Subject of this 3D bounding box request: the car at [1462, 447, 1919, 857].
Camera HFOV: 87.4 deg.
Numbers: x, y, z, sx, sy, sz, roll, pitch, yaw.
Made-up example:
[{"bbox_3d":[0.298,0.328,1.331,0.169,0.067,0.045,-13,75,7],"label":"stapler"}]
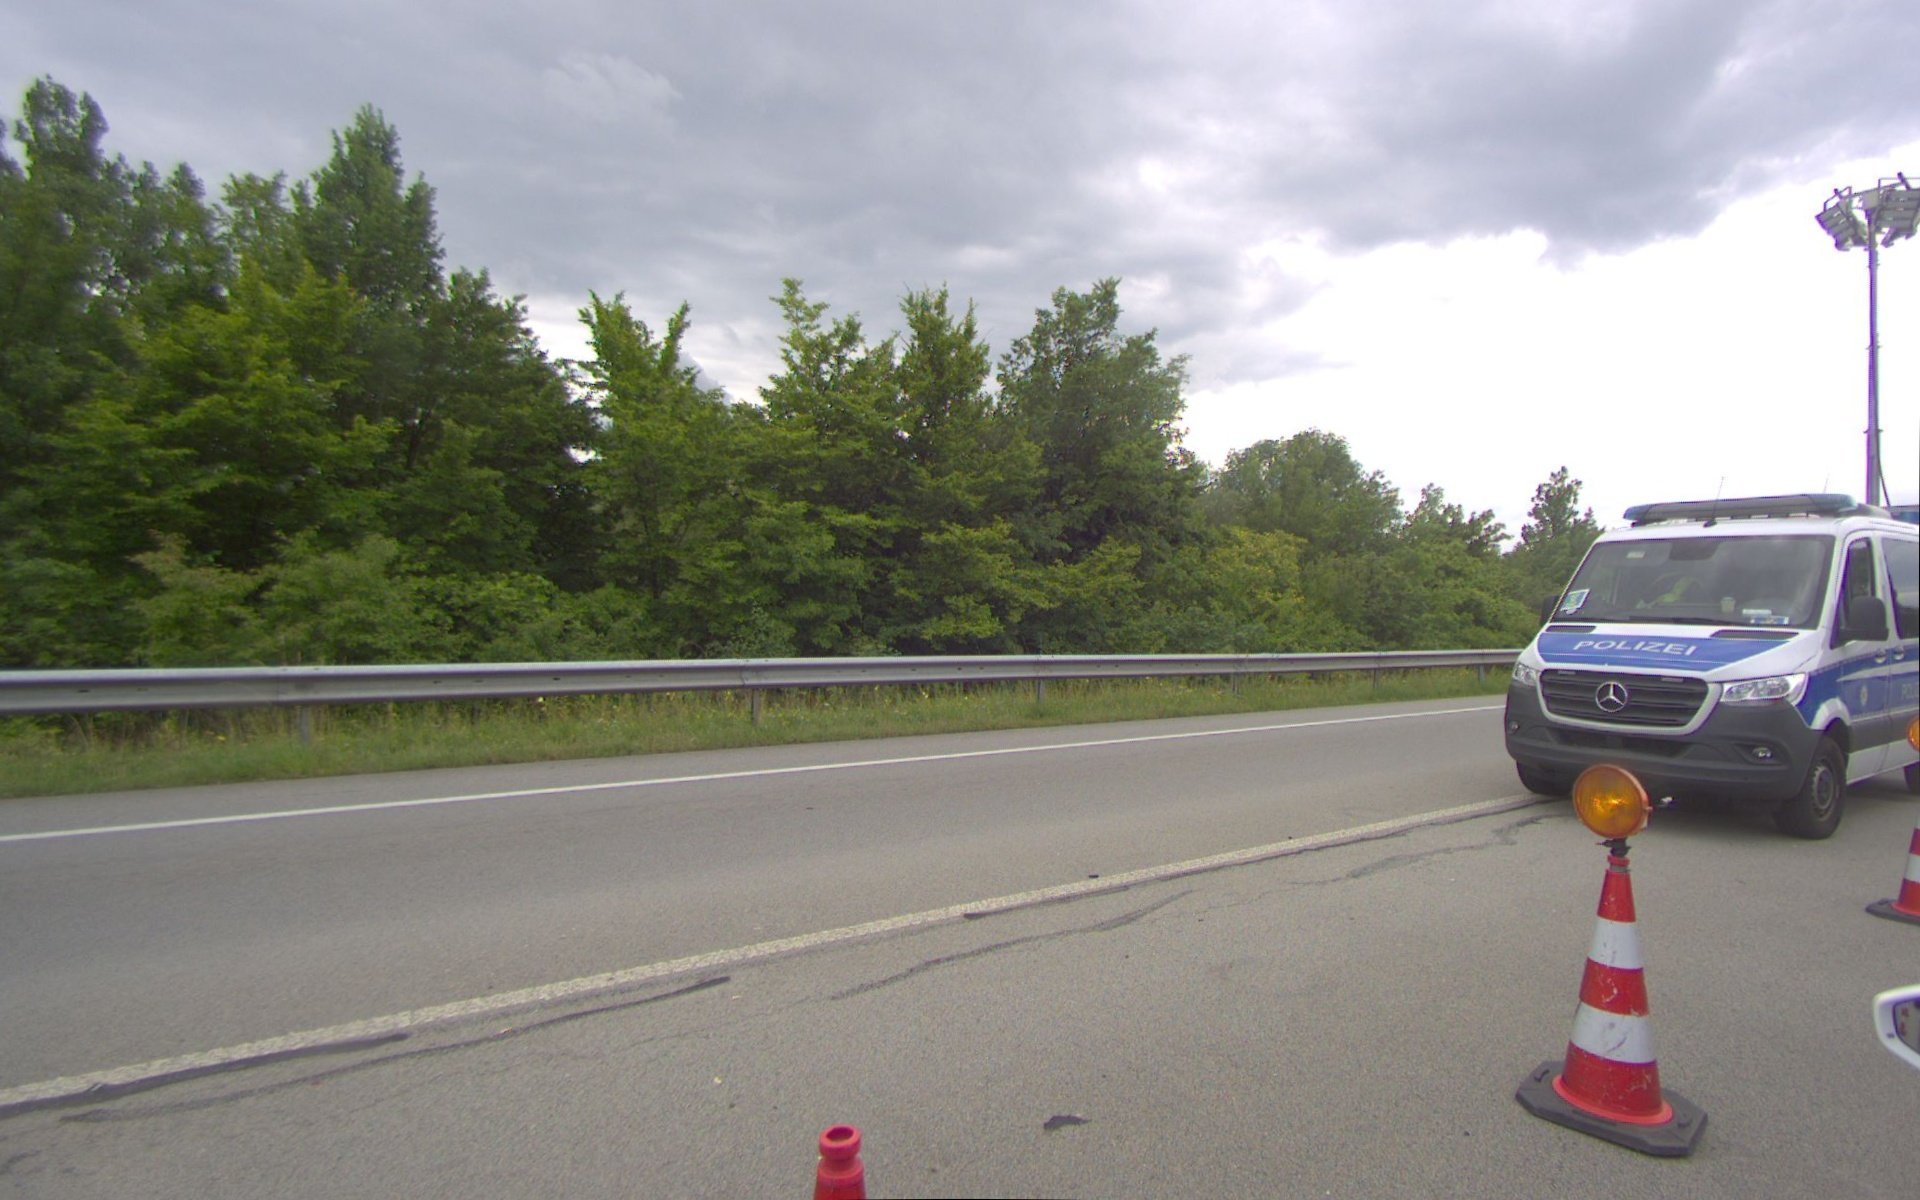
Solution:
[{"bbox_3d":[6.603,0.359,8.454,5.227,2.496,2.015,1,0,-35],"label":"car"}]
